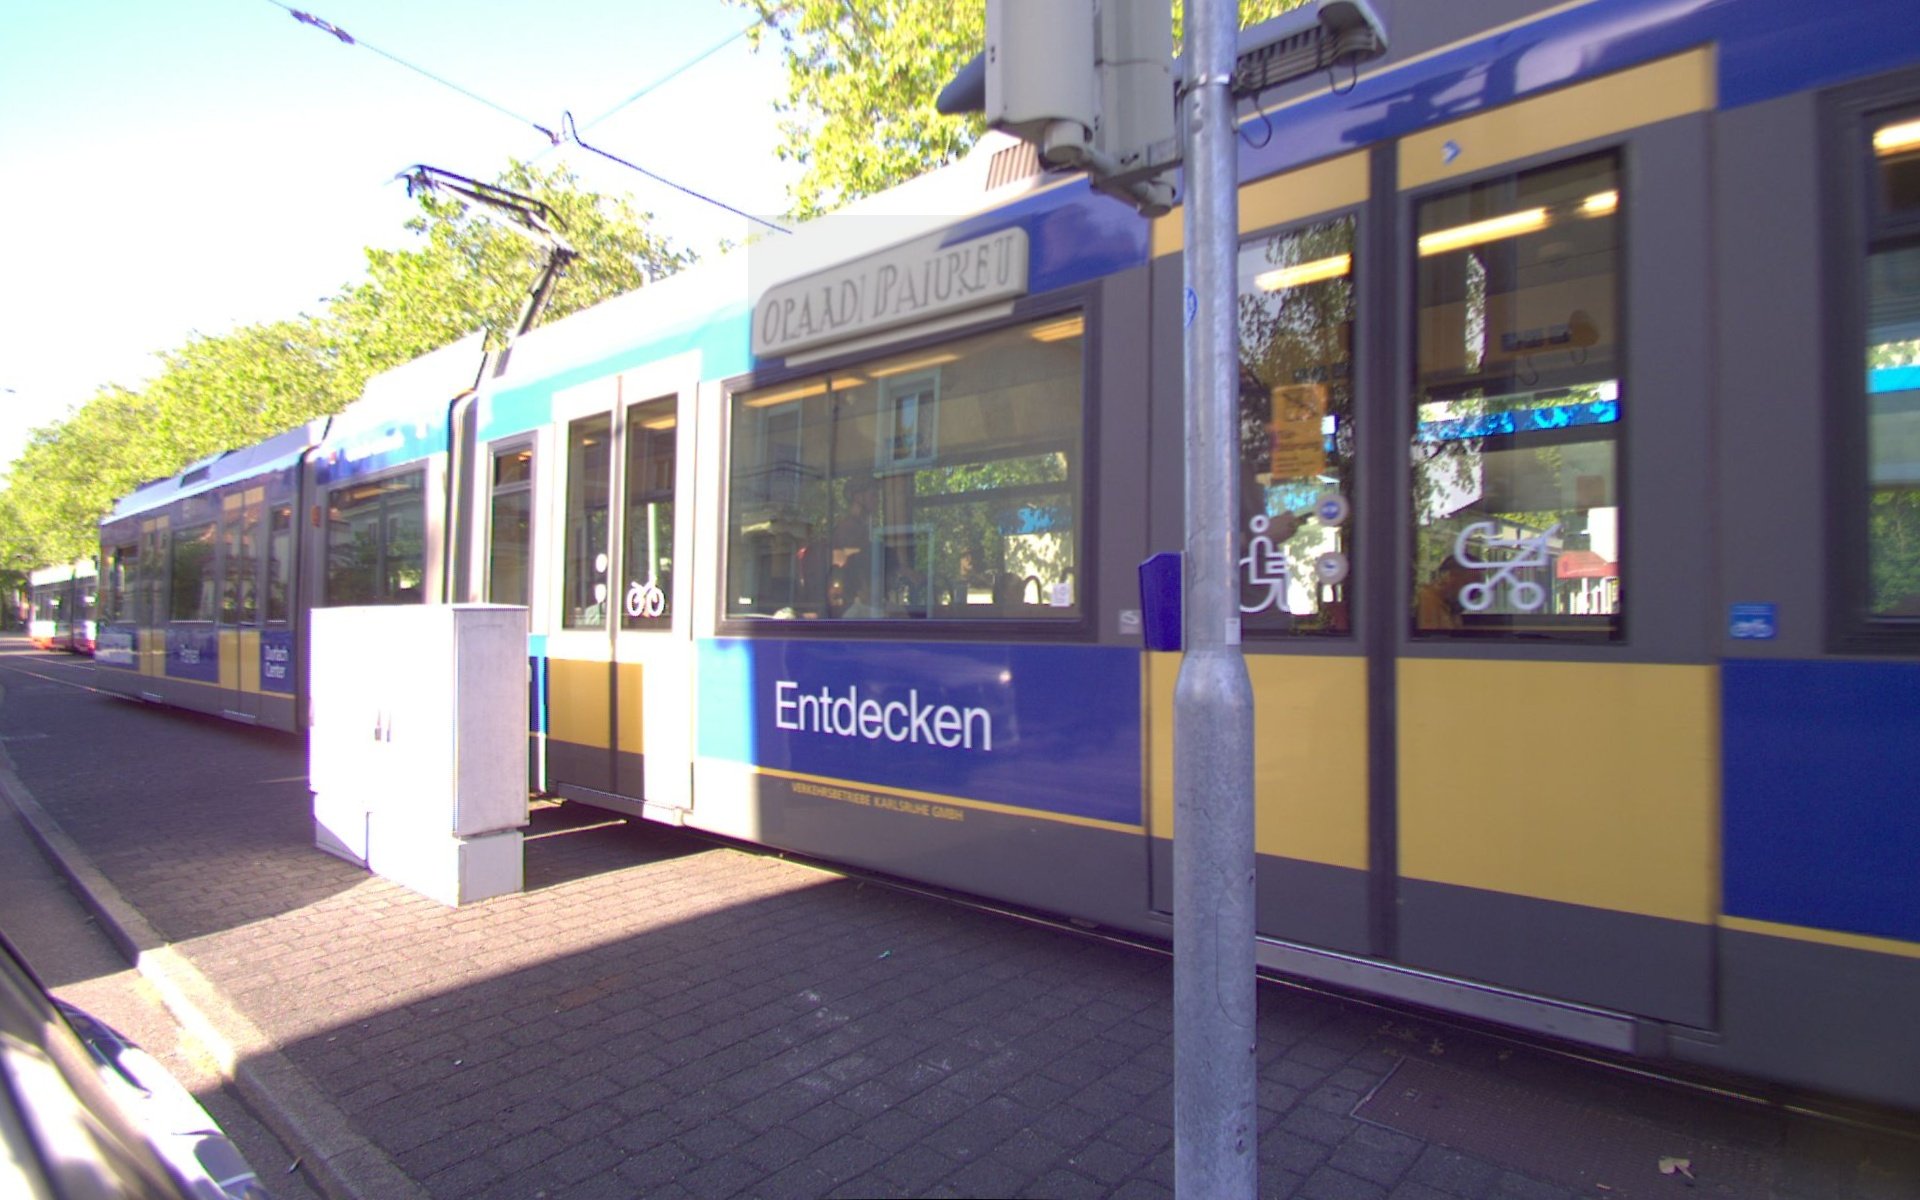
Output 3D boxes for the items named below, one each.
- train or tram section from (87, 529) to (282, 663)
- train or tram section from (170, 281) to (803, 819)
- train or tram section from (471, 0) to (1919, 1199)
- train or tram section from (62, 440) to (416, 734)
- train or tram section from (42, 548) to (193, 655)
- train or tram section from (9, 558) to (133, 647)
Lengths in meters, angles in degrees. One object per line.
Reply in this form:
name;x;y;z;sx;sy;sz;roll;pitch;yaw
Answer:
train or tram section;-23.869;-0.075;30.848;10.179;3.503;2.806;-1;0;41
train or tram section;-5.439;-0.239;10.474;8.458;3.526;2.785;-2;-2;41
train or tram section;2.151;-0.444;3.739;12.025;3.526;2.741;-2;-2;42
train or tram section;-11.573;-0.070;15.861;7.958;3.526;2.785;-2;-2;41
train or tram section;-31.521;0.086;37.657;10.179;3.503;2.806;-1;0;41
train or tram section;-39.143;0.123;44.390;10.179;3.503;2.806;-1;0;41
